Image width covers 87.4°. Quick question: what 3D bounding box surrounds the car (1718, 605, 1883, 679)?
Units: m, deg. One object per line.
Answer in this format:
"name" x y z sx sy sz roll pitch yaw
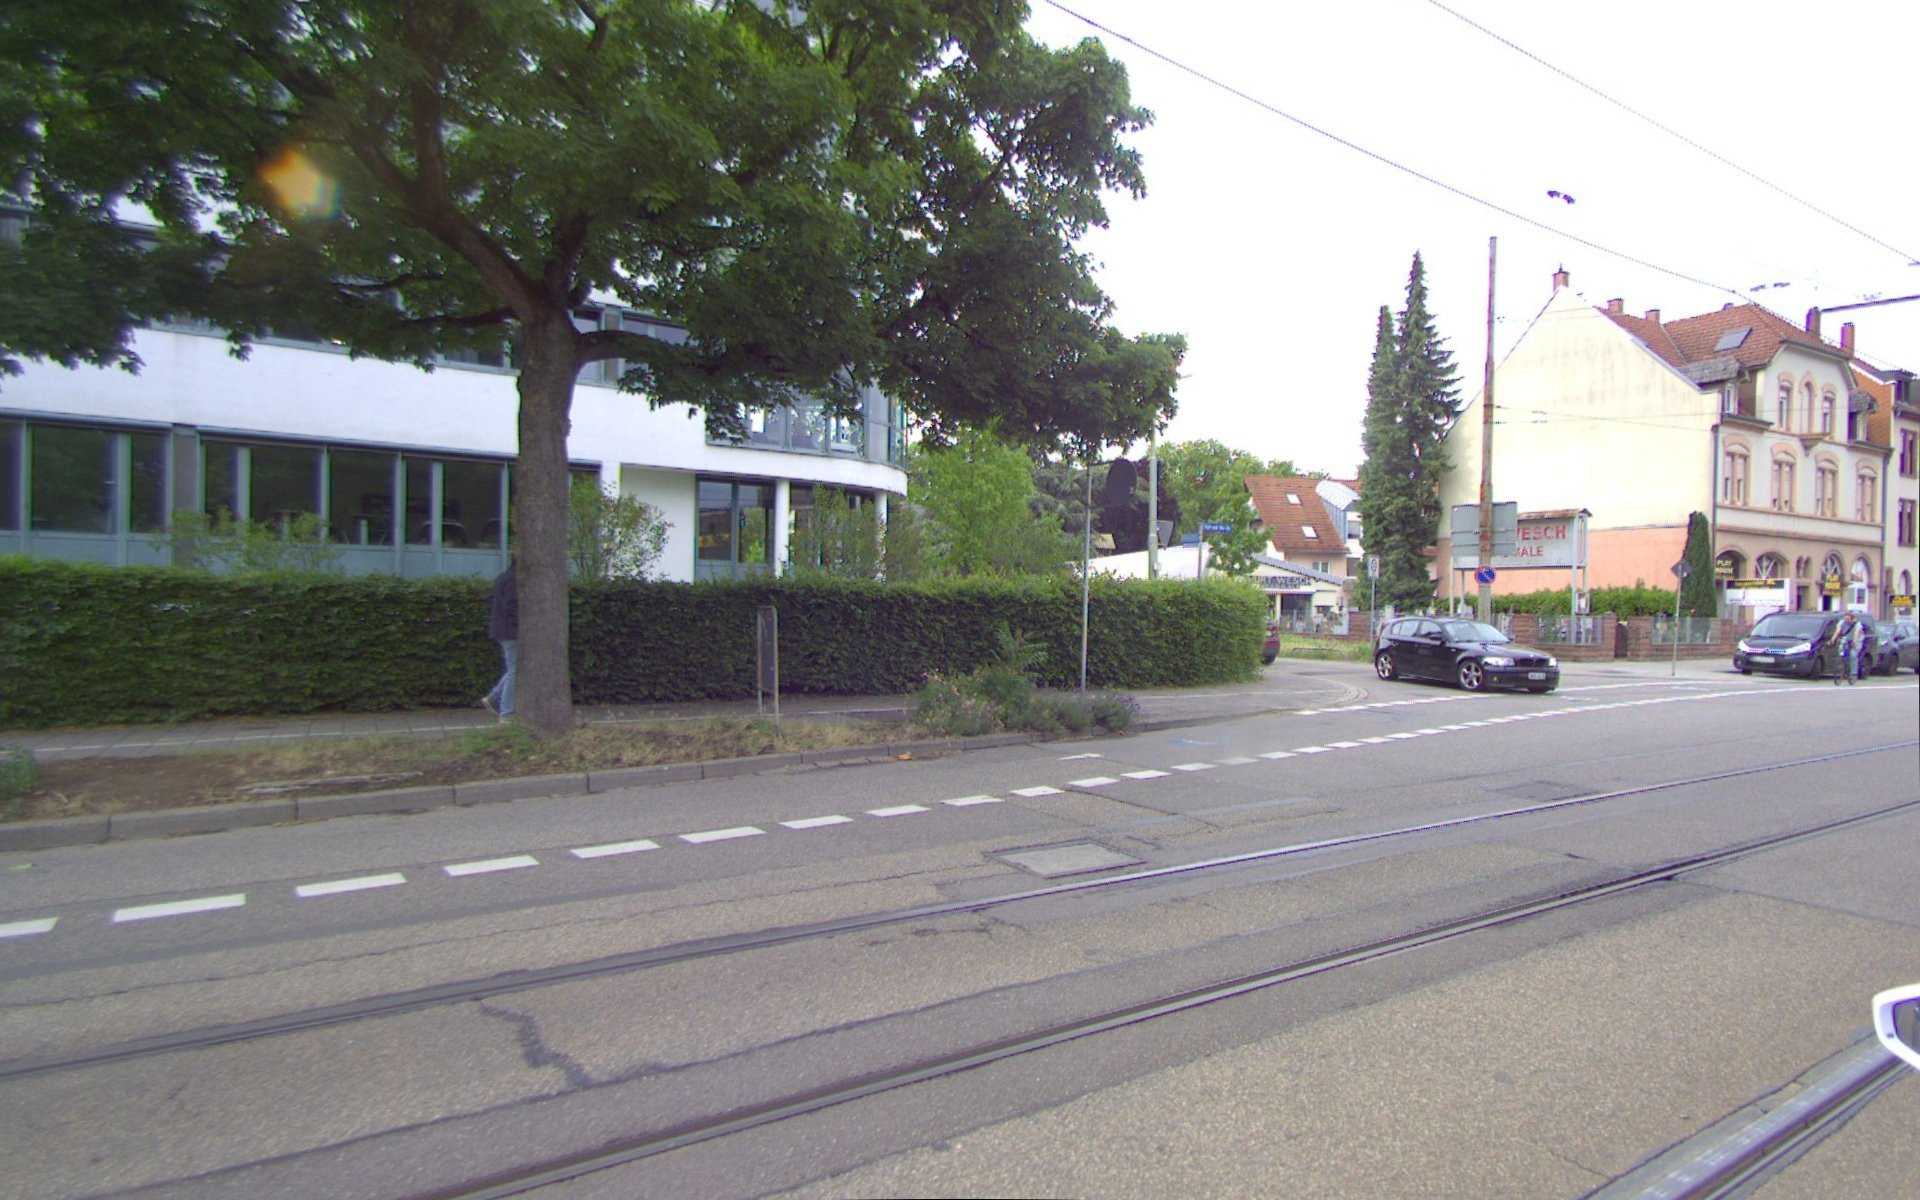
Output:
"car" 24.195 1.188 28.876 4.938 1.912 1.983 2 1 -29

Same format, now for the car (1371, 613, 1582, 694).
"car" 10.266 1.008 20.328 1.770 1.406 3.925 1 0 -10

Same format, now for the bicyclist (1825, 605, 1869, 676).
"bicyclist" 22.629 1.019 25.619 0.971 1.772 0.729 1 -1 -42

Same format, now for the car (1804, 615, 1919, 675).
"car" 29.187 1.427 32.265 4.144 1.741 1.835 2 1 -30

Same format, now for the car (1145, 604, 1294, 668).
"car" 6.824 0.903 26.745 1.748 1.437 3.690 -1 2 -31

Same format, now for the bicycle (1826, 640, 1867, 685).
"bicycle" 22.542 1.559 25.533 1.942 1.088 0.581 2 -2 -42

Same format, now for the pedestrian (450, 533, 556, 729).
"pedestrian" -4.980 0.326 10.964 0.977 2.040 0.708 2 1 -25
